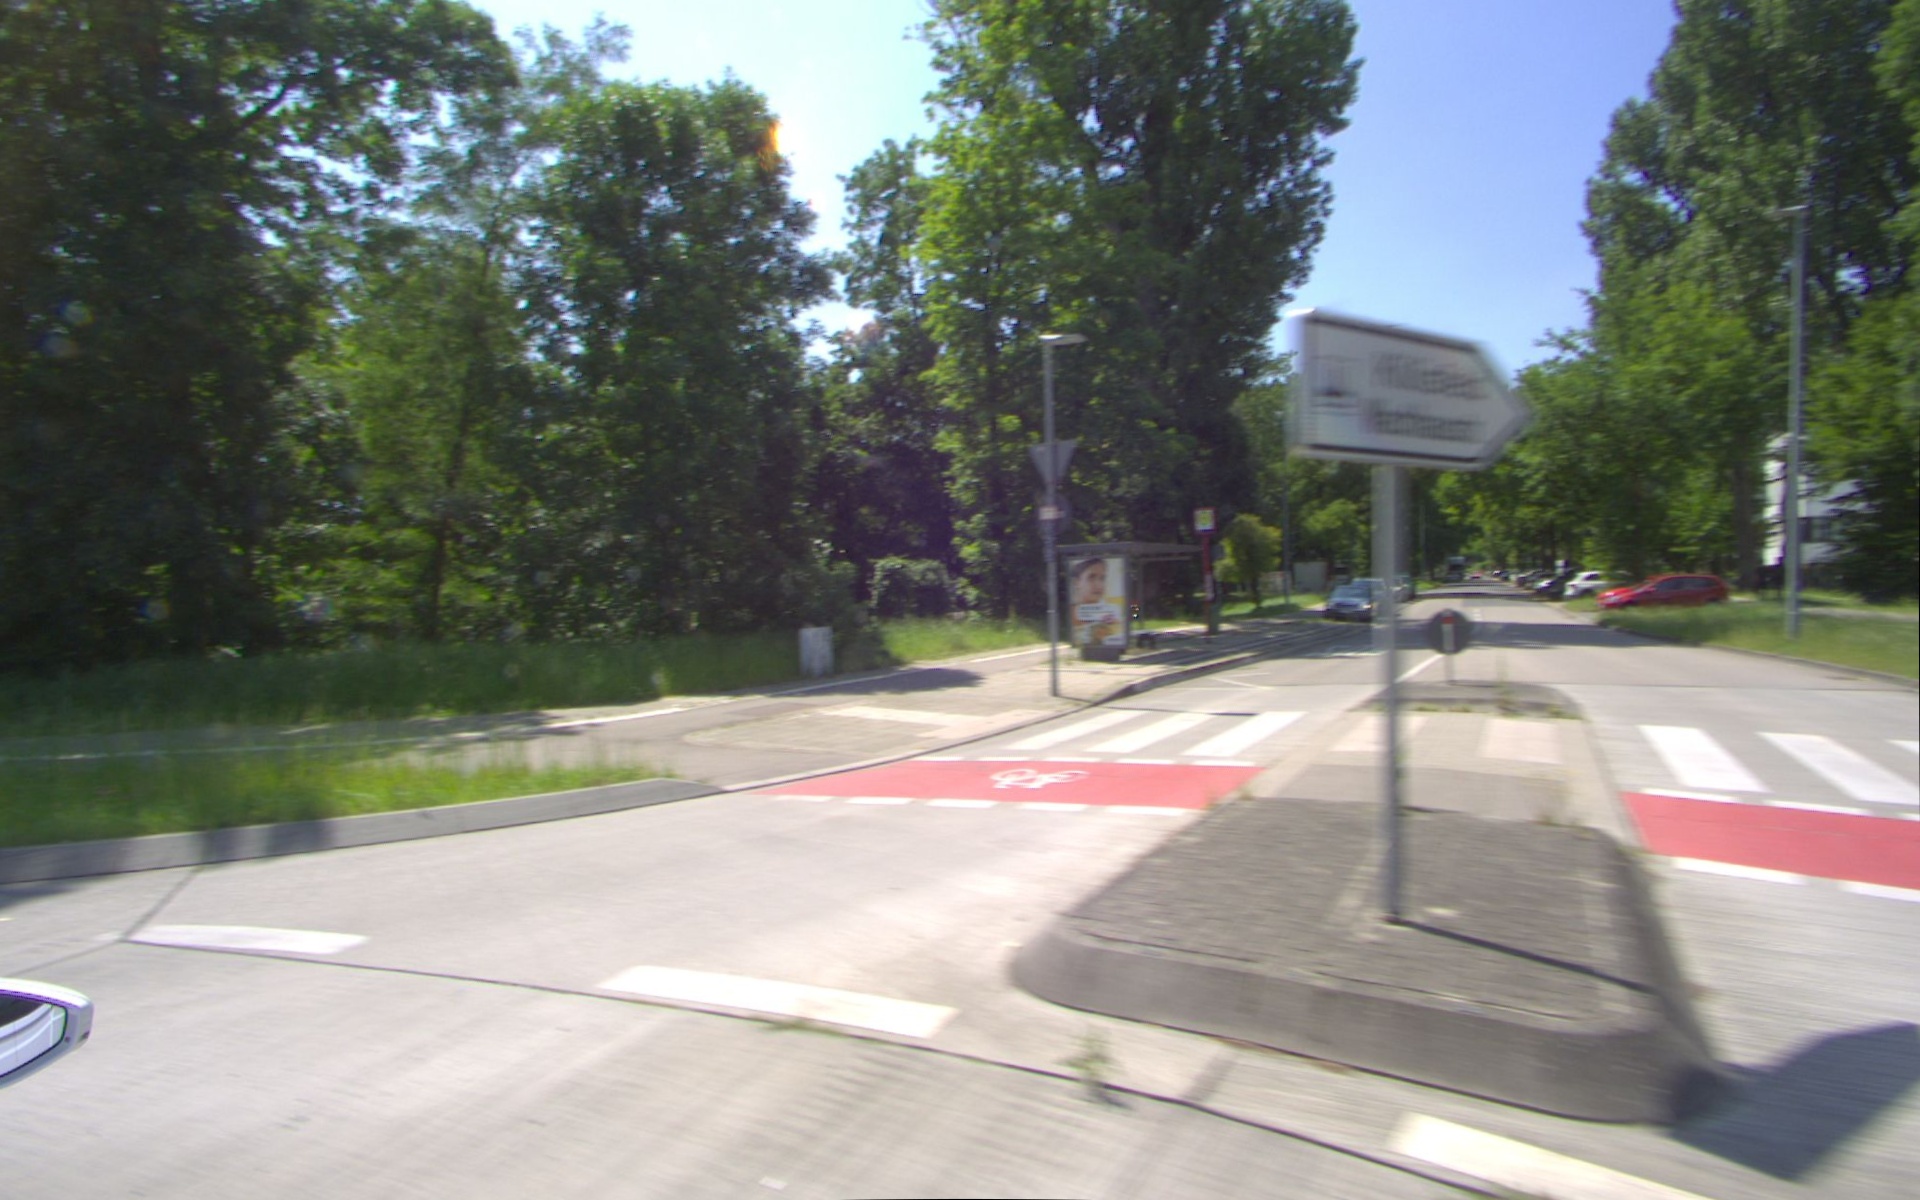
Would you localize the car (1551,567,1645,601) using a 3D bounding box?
[{"bbox_3d":[31.456,-0.754,49.484,3.726,1.537,1.806,-1,0,27],"label":"car"}]

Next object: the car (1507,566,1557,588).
[{"bbox_3d":[51.173,-2.039,89.608,3.736,1.907,1.641,-1,0,27],"label":"car"}]

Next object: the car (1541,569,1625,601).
[{"bbox_3d":[36.060,-0.871,58.060,3.938,1.728,1.752,-1,0,28],"label":"car"}]

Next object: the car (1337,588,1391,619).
[{"bbox_3d":[18.594,0.141,46.008,1.969,1.327,3.984,-1,0,27],"label":"car"}]

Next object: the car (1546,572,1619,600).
[{"bbox_3d":[38.711,-0.852,62.366,3.716,1.589,1.752,-1,0,28],"label":"car"}]

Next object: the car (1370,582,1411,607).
[{"bbox_3d":[26.792,-0.338,62.248,1.970,1.489,3.982,-1,0,29],"label":"car"}]

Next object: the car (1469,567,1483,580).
[{"bbox_3d":[85.721,-4.312,166.341,1.969,2.040,3.983,-1,0,28],"label":"car"}]

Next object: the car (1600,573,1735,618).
[{"bbox_3d":[25.247,-0.152,35.889,3.624,1.503,1.863,-1,0,24],"label":"car"}]

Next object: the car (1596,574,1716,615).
[{"bbox_3d":[27.741,-0.209,40.042,3.624,1.503,1.863,-1,0,24],"label":"car"}]

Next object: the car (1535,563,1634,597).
[{"bbox_3d":[39.796,-1.244,63.982,5.232,2.011,1.753,-1,0,27],"label":"car"}]

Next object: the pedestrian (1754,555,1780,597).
[{"bbox_3d":[31.878,-0.922,39.583,0.562,1.629,0.643,-1,1,13],"label":"pedestrian"}]

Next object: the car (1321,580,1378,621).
[{"bbox_3d":[15.521,-0.011,39.804,1.676,1.506,3.984,2,2,27],"label":"car"}]

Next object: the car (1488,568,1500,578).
[{"bbox_3d":[105.701,-5.249,198.090,1.813,1.840,3.723,-1,0,32],"label":"car"}]

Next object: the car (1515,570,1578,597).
[{"bbox_3d":[44.161,-1.245,75.465,3.936,1.897,1.678,-1,0,26],"label":"car"}]

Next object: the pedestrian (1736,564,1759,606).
[{"bbox_3d":[31.260,-0.582,39.745,0.577,1.638,0.485,-1,1,15],"label":"pedestrian"}]

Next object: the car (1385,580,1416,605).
[{"bbox_3d":[29.054,-0.521,65.985,1.709,1.564,3.432,-1,0,26],"label":"car"}]
